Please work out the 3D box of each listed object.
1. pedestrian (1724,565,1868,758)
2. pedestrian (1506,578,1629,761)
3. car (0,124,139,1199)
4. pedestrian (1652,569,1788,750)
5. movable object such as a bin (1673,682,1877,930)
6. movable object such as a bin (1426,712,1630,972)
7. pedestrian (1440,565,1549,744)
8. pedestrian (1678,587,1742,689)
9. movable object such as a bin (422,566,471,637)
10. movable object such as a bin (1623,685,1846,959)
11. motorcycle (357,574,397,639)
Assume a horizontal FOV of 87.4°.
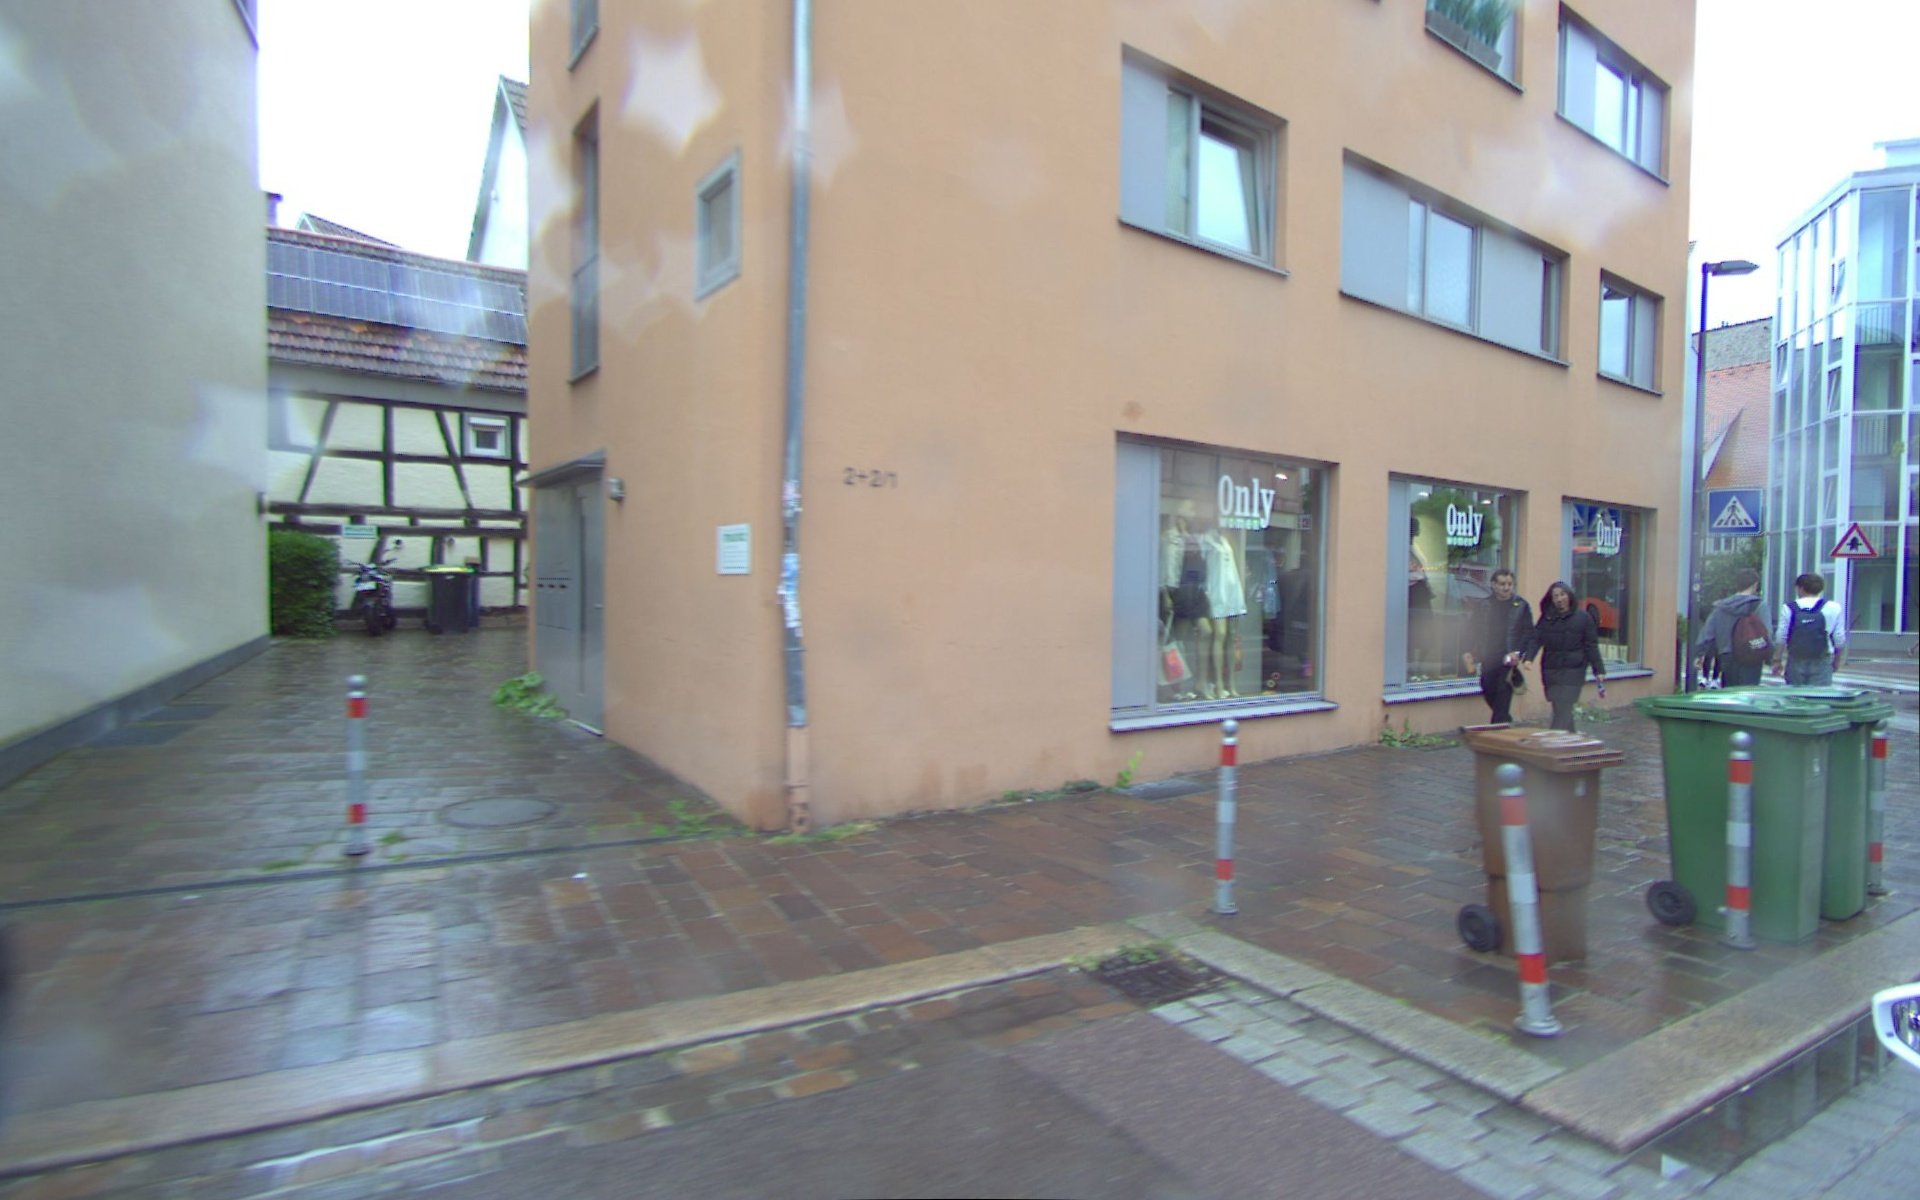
[{"bbox_3d":[8.338,0.583,10.028,1.045,1.831,0.662,0,1,-21],"label":"pedestrian"},{"bbox_3d":[5.868,0.636,9.713,0.738,1.662,0.710,0,2,-34],"label":"pedestrian"},{"bbox_3d":[-4.319,0.228,0.462,5.787,2.270,1.985,1,0,-28],"label":"car"},{"bbox_3d":[8.044,0.606,10.644,1.043,1.824,0.691,0,1,-22],"label":"pedestrian"},{"bbox_3d":[4.039,0.968,4.990,0.604,1.050,0.652,0,0,-35],"label":"movable object such as a bin"},{"bbox_3d":[2.429,0.996,4.328,0.475,0.939,0.579,0,1,-26],"label":"movable object such as a bin"},{"bbox_3d":[5.447,0.530,10.246,0.800,1.735,0.618,0,2,-34],"label":"pedestrian"},{"bbox_3d":[12.316,0.600,16.507,0.677,1.631,0.655,0,1,-37],"label":"pedestrian"},{"bbox_3d":[-8.359,0.015,16.344,0.668,1.093,0.910,0,2,-30],"label":"movable object such as a bin"},{"bbox_3d":[3.522,0.953,4.580,0.604,1.050,0.652,0,1,-35],"label":"movable object such as a bin"},{"bbox_3d":[-9.272,0.081,15.972,0.513,0.943,1.437,0,3,-31],"label":"motorcycle"}]
